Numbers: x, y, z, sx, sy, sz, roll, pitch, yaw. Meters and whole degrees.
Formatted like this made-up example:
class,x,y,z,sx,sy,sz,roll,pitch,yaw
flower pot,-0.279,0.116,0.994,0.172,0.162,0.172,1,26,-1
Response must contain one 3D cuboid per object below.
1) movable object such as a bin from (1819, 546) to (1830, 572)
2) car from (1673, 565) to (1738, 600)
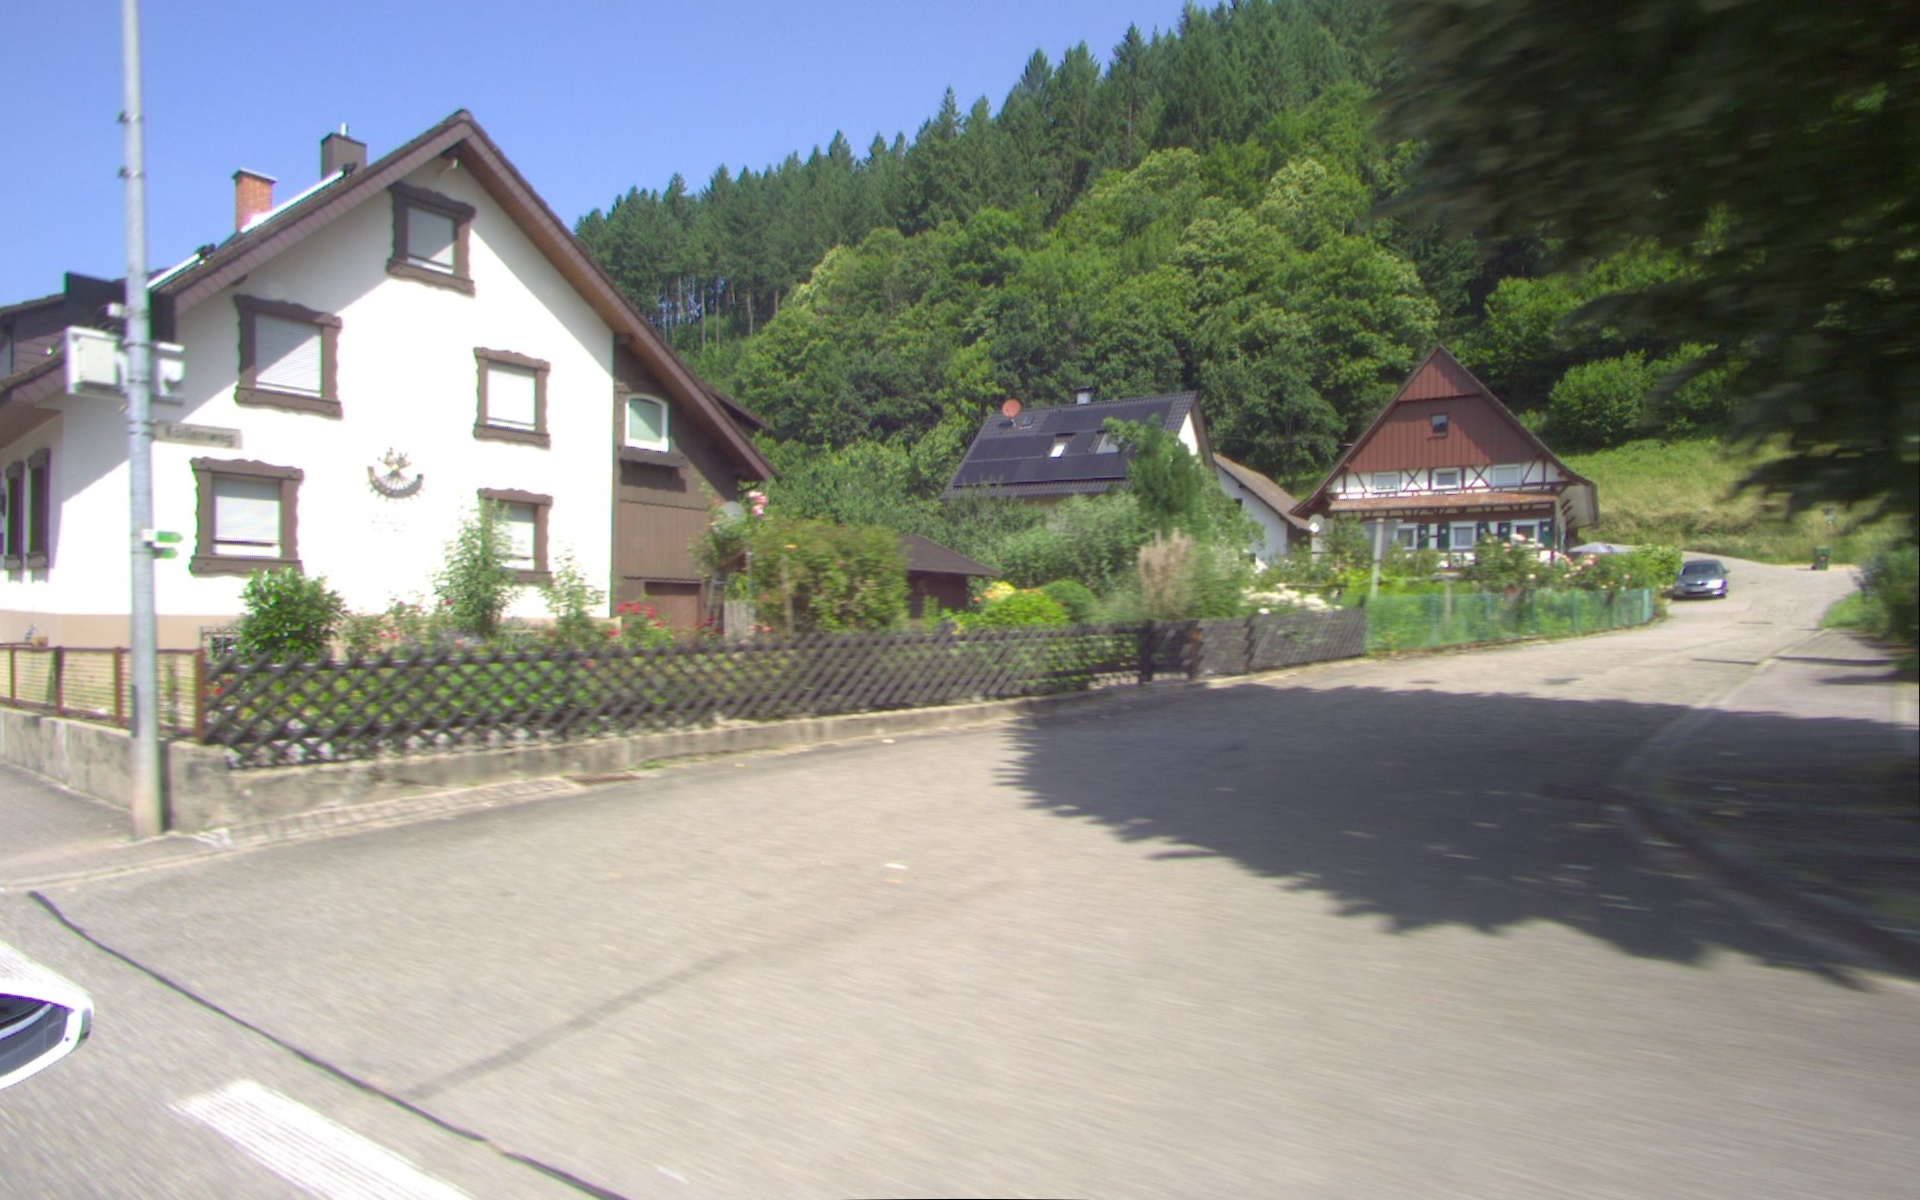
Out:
class,x,y,z,sx,sy,sz,roll,pitch,yaw
movable object such as a bin,39.700,-1.868,45.988,0.392,1.145,0.304,-1,-1,42
car,30.563,-0.701,41.018,1.864,1.342,3.967,-1,1,41
